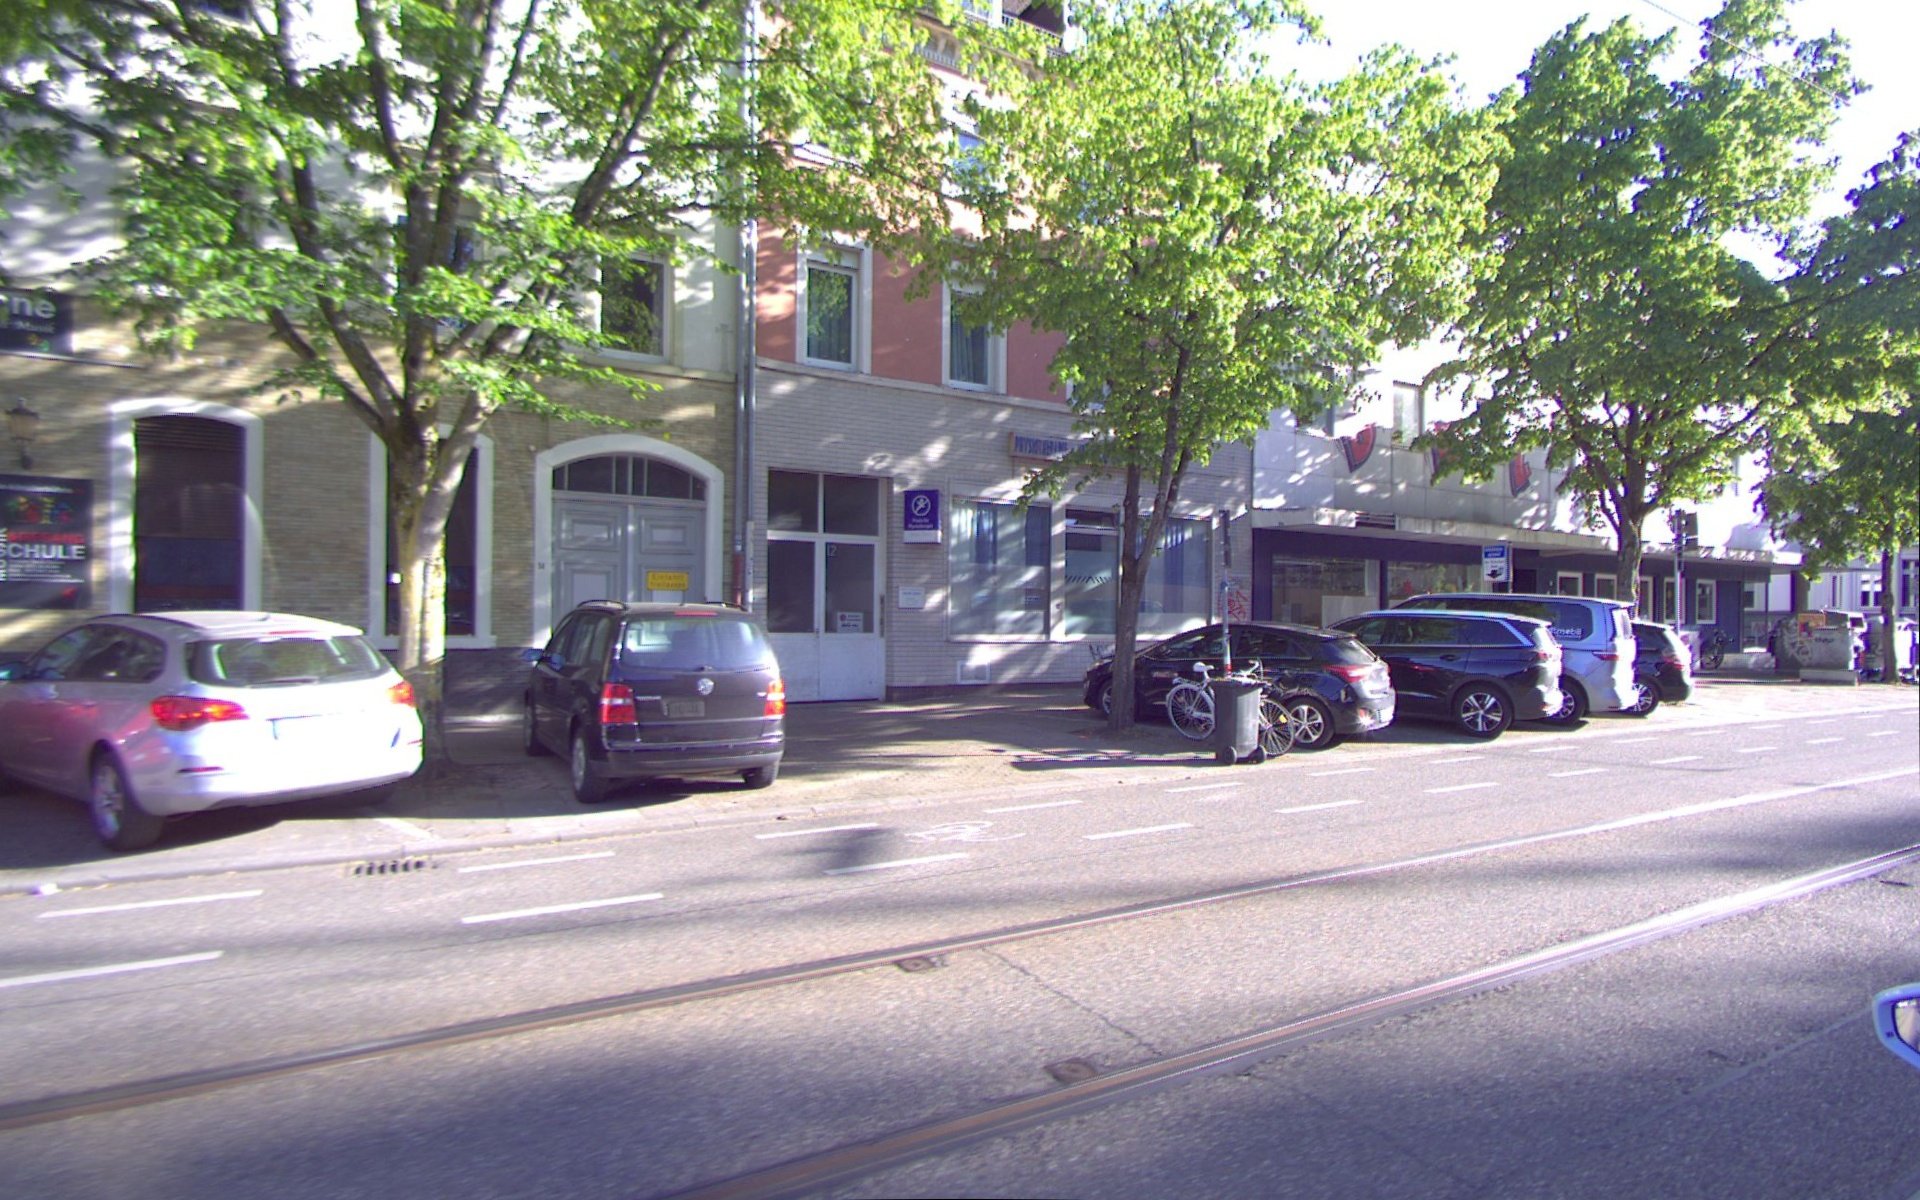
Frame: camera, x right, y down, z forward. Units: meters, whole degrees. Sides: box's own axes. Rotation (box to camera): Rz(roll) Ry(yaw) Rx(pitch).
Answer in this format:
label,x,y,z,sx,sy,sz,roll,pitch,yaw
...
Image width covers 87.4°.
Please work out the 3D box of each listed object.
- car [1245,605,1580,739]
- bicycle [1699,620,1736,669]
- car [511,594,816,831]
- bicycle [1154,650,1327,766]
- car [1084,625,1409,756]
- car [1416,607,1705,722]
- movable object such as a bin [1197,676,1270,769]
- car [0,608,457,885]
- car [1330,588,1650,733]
label,x,y,z,sx,sy,sz,roll,pitch,yaw
car,6.578,0.988,14.847,4.185,1.707,1.802,-2,-2,40
bicycle,21.994,1.268,29.151,2.169,1.361,0.520,1,-1,-44
car,-3.066,0.844,9.741,1.820,1.700,4.081,1,1,-32
bicycle,3.270,1.228,11.852,1.944,1.160,0.490,1,0,43
car,3.761,1.101,13.539,3.814,1.496,1.833,-2,-2,43
car,10.681,1.047,18.007,4.227,1.689,1.905,2,1,37
movable object such as a bin,3.039,1.341,11.159,0.569,0.925,0.572,2,2,44
car,-5.892,0.873,7.785,4.048,1.533,1.835,1,1,34
car,8.546,0.853,16.390,4.301,2.013,1.941,2,0,39
